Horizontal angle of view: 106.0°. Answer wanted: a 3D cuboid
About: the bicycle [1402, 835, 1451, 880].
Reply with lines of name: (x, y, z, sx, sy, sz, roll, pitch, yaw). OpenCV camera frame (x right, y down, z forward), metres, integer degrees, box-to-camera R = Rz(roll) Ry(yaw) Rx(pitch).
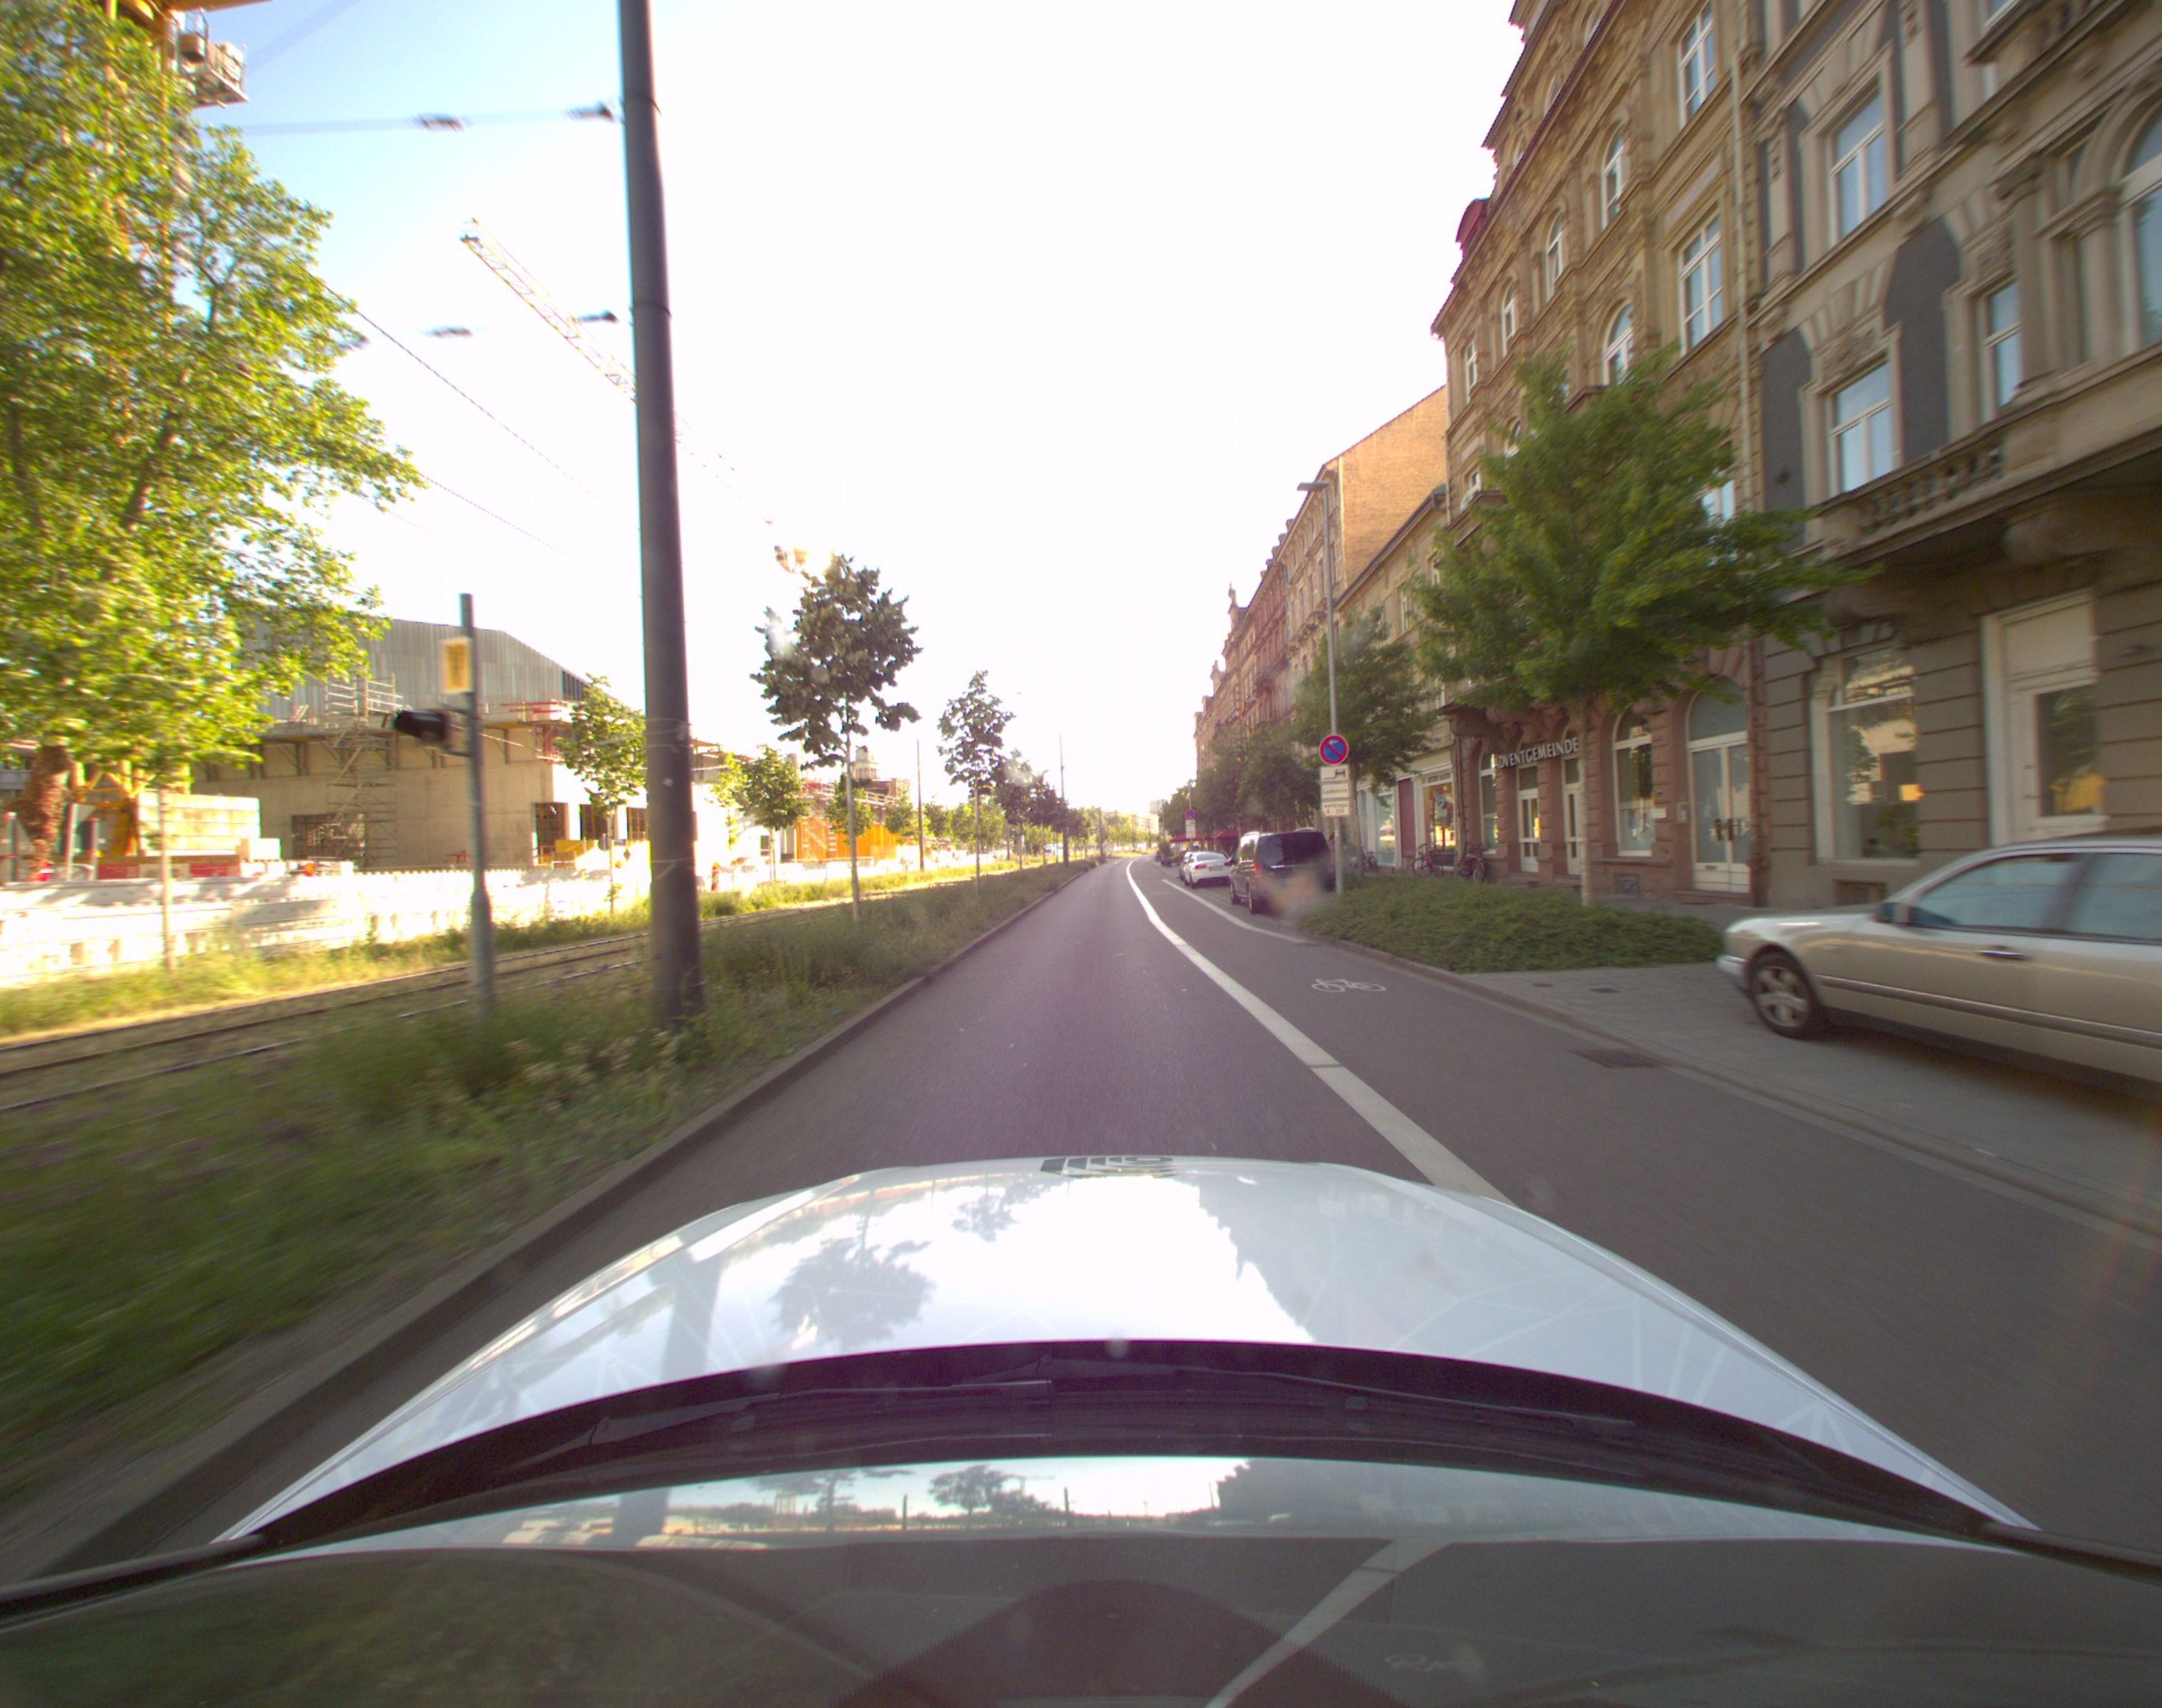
bicycle: (11.392, 0.080, 26.951, 0.658, 1.402, 2.353, -2, 1, 2)

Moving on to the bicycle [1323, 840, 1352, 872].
bicycle: (12.046, 0.065, 38.323, 0.658, 1.402, 2.353, -2, 1, 2)

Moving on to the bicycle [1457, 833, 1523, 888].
bicycle: (11.247, 0.156, 22.488, 0.658, 1.402, 2.353, -2, 1, 2)

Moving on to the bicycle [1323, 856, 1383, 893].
bicycle: (8.751, 0.643, 26.388, 1.077, 1.084, 2.771, -2, 0, 2)

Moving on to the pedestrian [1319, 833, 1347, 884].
pedestrian: (7.462, 0.126, 24.145, 0.623, 1.460, 0.639, -2, 0, 2)

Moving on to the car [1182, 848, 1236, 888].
car: (5.273, 0.547, 34.017, 1.841, 1.457, 4.161, -2, 1, 4)

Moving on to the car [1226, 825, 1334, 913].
car: (4.888, 0.308, 20.605, 1.877, 1.937, 4.478, -2, 1, 4)

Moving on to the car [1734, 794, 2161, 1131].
car: (5.710, 0.451, 4.121, 1.629, 1.486, 4.218, -4, 1, 5)

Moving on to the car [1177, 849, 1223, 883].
car: (5.751, 0.550, 39.722, 1.841, 1.457, 4.161, -2, 1, 4)
